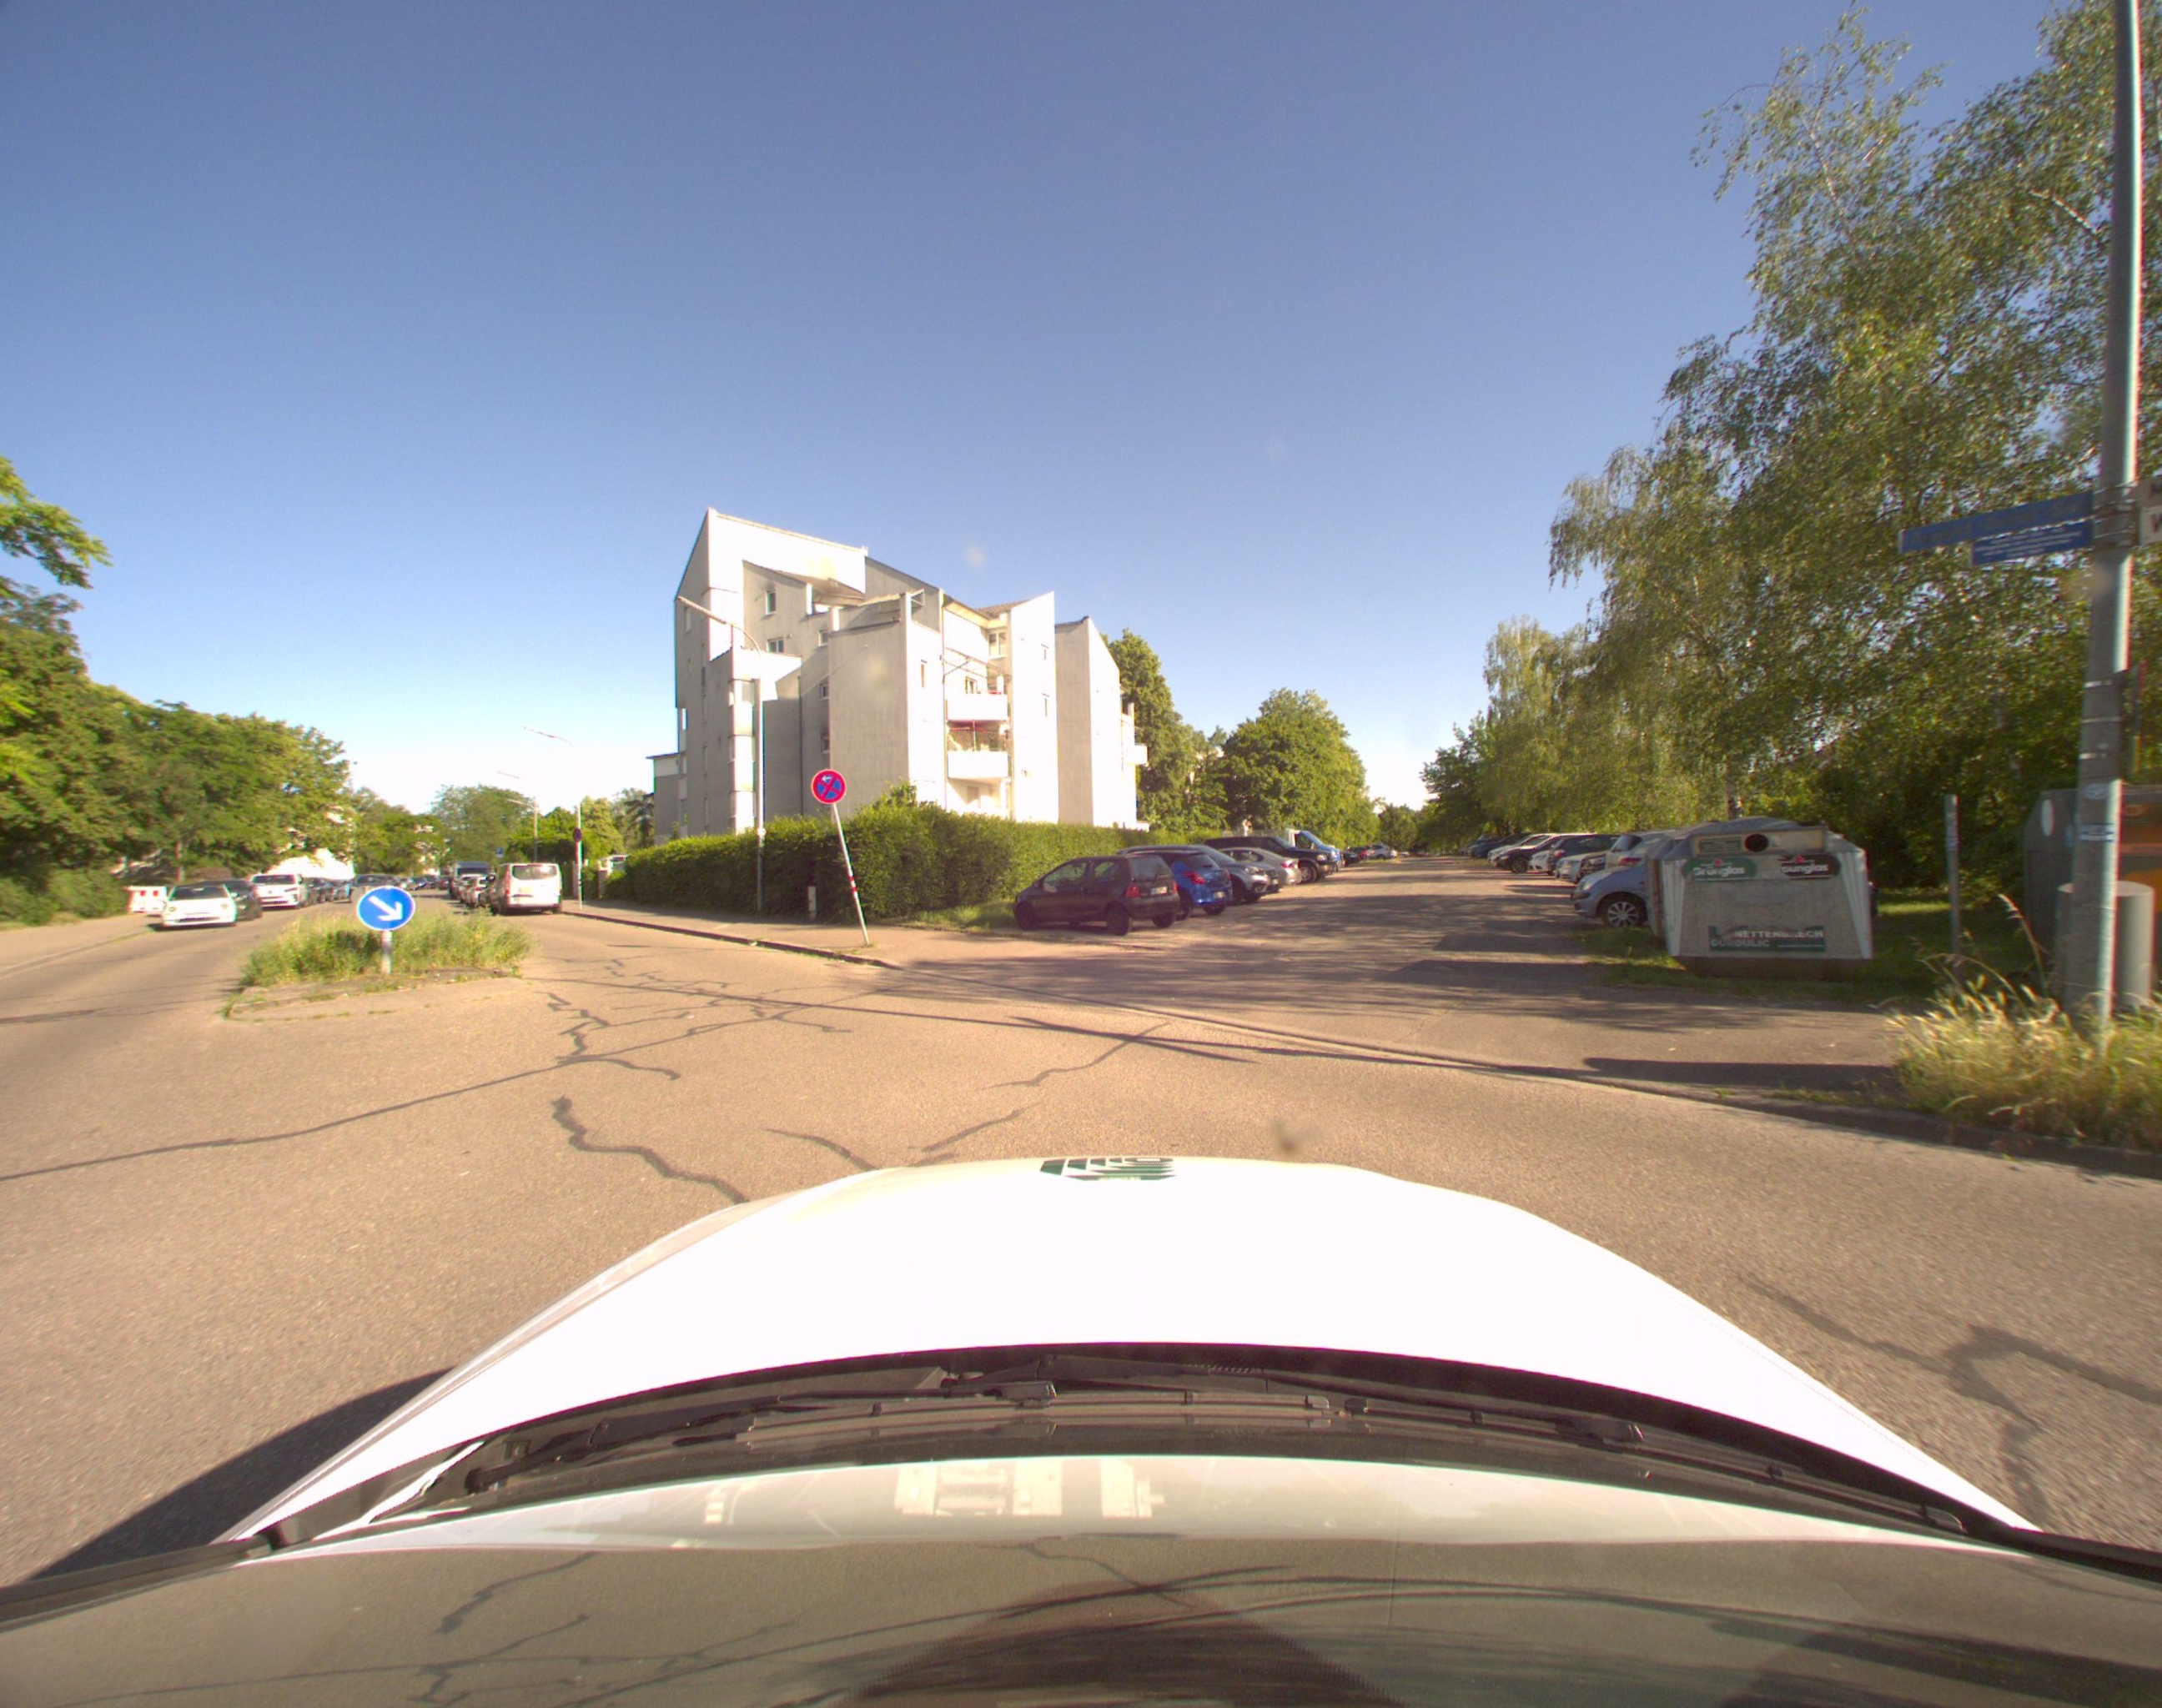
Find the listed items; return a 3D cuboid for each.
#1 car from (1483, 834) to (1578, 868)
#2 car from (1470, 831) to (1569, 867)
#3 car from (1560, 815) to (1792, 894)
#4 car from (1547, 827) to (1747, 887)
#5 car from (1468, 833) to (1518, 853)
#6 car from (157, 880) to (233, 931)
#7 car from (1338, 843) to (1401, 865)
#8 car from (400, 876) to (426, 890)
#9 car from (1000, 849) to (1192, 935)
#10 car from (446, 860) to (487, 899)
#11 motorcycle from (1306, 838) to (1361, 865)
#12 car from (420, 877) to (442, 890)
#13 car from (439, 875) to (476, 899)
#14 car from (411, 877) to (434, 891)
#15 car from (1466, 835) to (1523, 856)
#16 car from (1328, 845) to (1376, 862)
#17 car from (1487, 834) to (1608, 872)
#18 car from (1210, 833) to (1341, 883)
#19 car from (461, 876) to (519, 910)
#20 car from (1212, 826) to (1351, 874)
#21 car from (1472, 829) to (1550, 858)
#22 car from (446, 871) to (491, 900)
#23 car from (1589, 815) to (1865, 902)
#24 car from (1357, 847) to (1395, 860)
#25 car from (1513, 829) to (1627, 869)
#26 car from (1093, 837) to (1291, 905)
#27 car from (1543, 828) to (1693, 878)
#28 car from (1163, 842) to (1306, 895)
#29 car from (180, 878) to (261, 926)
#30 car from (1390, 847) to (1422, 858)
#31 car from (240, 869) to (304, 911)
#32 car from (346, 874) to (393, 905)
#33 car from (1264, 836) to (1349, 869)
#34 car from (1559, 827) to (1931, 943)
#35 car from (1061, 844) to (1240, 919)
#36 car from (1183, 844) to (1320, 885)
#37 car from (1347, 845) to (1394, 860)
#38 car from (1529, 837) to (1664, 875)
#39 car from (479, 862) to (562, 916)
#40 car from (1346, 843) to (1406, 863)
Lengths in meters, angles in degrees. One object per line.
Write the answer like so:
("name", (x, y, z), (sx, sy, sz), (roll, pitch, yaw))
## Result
("car", (21.894, -0.139, 39.813), (3.949, 1.585, 1.808), (-1, 0, 27))
("car", (20.212, -0.213, 37.659), (3.949, 1.585, 1.808), (-1, 0, 27))
("car", (13.861, 0.012, 19.249), (4.071, 1.706, 1.799), (-1, 2, 18))
("car", (15.030, 0.074, 21.871), (4.071, 1.499, 1.799), (-1, 2, 18))
("car", (37.293, -1.005, 73.765), (3.949, 1.708, 1.808), (-1, 0, 27))
("car", (-29.865, 1.685, 27.512), (3.376, 1.527, 1.641), (-2, 0, 43))
("car", (19.780, 0.000, 55.793), (3.904, 1.334, 1.857), (-2, 0, 23))
("car", (-71.045, 3.062, 86.647), (1.672, 1.426, 4.006), (-3, 0, -34))
("car", (0.245, 0.696, 16.187), (3.488, 1.466, 1.714), (-1, 1, 41))
("car", (-41.790, 1.742, 55.347), (2.121, 2.486, 5.789), (1, -2, -38))
("motorcycle", (15.805, -0.148, 50.954), (3.161, 1.596, 0.929), (-2, 0, 25))
("car", (-76.229, 3.467, 95.493), (1.672, 1.426, 3.831), (-3, 0, -34))
("car", (-46.226, 2.411, 60.344), (1.926, 1.666, 4.323), (-1, -1, -41))
("car", (-73.602, 3.349, 91.057), (1.672, 1.426, 3.775), (-3, 0, -34))
("car", (32.981, -0.645, 64.964), (3.949, 1.585, 1.808), (-1, 0, 27))
("car", (24.216, -0.061, 72.769), (3.904, 1.334, 1.857), (-2, 0, 23))
("car", (18.095, -0.011, 31.777), (3.949, 1.401, 1.808), (-1, 0, 27))
("car", (7.438, 0.152, 31.198), (4.479, 1.771, 1.858), (-2, 0, 29))
("car", (-28.789, 1.850, 39.631), (1.926, 1.488, 4.323), (-1, -1, -41))
("car", (9.808, -0.174, 39.850), (6.201, 2.147, 2.424), (-2, 0, 22))
("car", (25.173, -0.586, 47.724), (3.949, 1.585, 1.808), (-1, 0, 27))
("car", (-38.340, 1.968, 50.940), (1.926, 1.666, 4.323), (-1, -1, -41))
("car", (12.846, 0.085, 16.510), (4.019, 1.603, 1.800), (-1, 2, 19))
("car", (33.903, -0.073, 93.622), (3.904, 1.334, 1.857), (-2, 0, 23))
("car", (20.324, -0.180, 34.025), (3.949, 1.585, 1.808), (-1, 0, 27))
("car", (2.959, 0.478, 22.133), (4.944, 1.654, 1.795), (-3, 0, 30))
("car", (17.392, -0.009, 26.635), (3.949, 1.503, 1.960), (-1, 0, 30))
("car", (4.837, 0.453, 25.703), (4.107, 1.455, 1.628), (-3, -1, 22))
("car", (-33.272, 1.796, 31.587), (1.689, 1.638, 4.200), (-3, 1, -41))
("car", (40.320, -0.224, 101.153), (3.612, 1.212, 1.857), (-2, 0, 23))
("car", (-40.827, 1.769, 41.189), (1.879, 1.961, 4.616), (-1, 0, -40))
("car", (-42.730, 2.085, 48.972), (1.929, 1.705, 4.136), (-2, 0, -39))
("car", (13.154, -0.107, 47.536), (4.481, 1.771, 1.858), (-2, 0, 25))
("car", (9.464, 0.383, 11.994), (4.013, 1.438, 1.645), (0, 0, 37))
("car", (1.519, 0.614, 18.363), (3.644, 1.496, 1.662), (-3, 0, 37))
("car", (6.073, 0.387, 29.031), (4.410, 1.335, 1.858), (-2, 0, 26))
("car", (26.730, -0.138, 75.236), (3.904, 1.334, 1.857), (-2, 0, 23))
("car", (18.277, 0.074, 29.061), (3.949, 1.278, 1.809), (-1, 0, 30))
("car", (-22.003, 1.321, 31.897), (2.011, 1.912, 4.893), (-1, -1, -42))
("car", (21.129, -0.070, 58.363), (3.904, 1.334, 1.857), (-2, 0, 23))
